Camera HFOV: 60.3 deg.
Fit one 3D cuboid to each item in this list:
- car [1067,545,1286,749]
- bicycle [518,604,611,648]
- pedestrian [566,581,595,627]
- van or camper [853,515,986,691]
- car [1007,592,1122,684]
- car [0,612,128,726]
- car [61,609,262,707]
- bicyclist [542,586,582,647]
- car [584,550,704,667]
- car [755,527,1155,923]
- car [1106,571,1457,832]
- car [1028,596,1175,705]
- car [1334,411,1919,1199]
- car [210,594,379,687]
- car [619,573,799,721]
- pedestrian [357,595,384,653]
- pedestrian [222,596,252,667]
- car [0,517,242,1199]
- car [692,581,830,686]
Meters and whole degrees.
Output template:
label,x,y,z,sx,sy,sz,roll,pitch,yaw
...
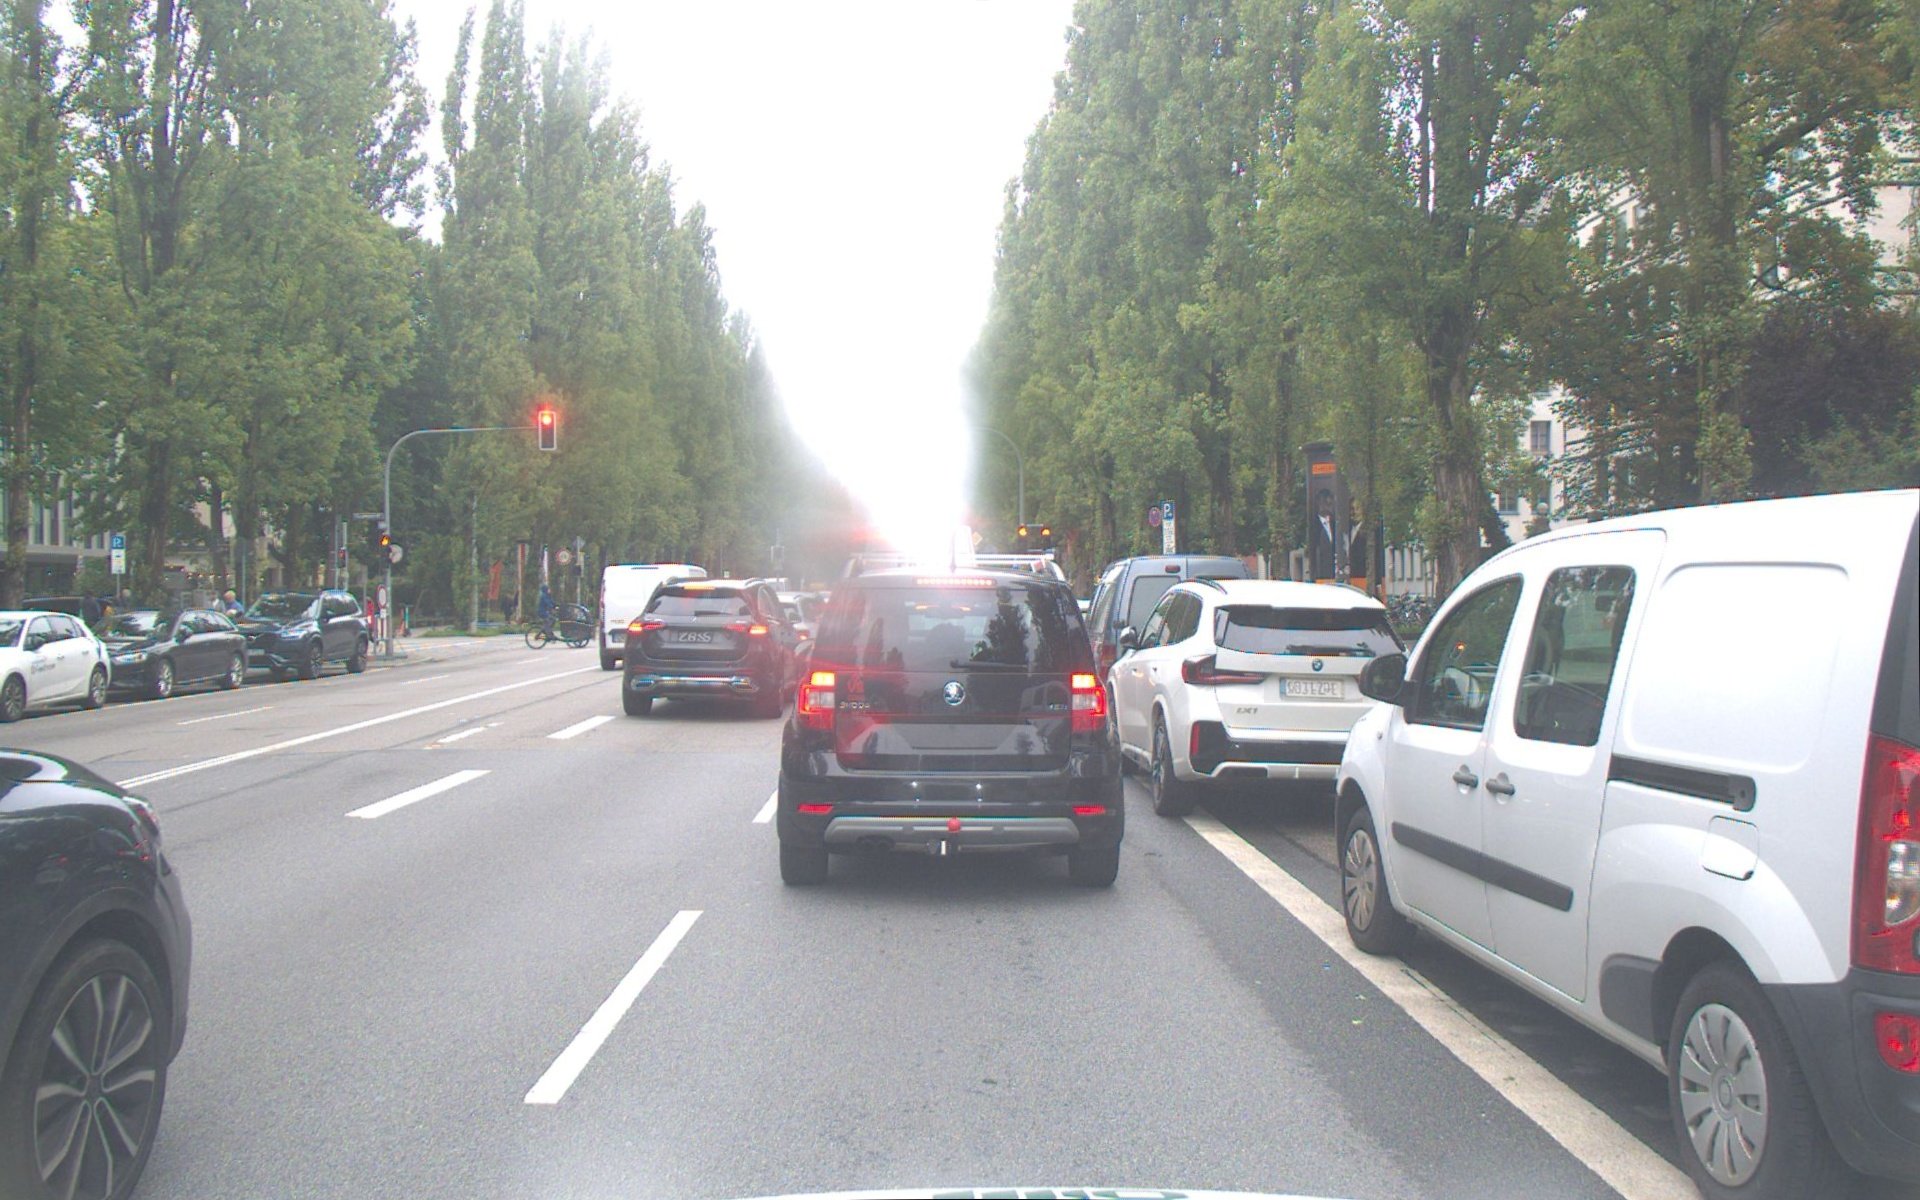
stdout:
label,x,y,z,sx,sy,sz,roll,pitch,yaw
car,2.206,0.427,17.856,1.700,1.928,4.023,-1,1,-2
bicycle,-11.520,0.752,48.166,2.481,1.259,0.813,-1,0,8
pedestrian,-14.929,0.165,65.055,0.861,1.795,0.879,-1,0,8
van or camper,-0.712,0.023,26.491,1.936,2.593,4.022,-1,0,-3
car,1.784,0.621,29.222,1.700,1.501,3.561,-1,1,-2
car,-13.151,0.930,22.670,1.591,1.413,4.163,-3,0,-4
car,-13.466,0.924,28.166,1.591,1.413,4.163,-3,0,-4
bicyclist,-11.595,0.485,48.175,0.886,1.752,0.825,-1,0,8
car,-6.161,0.155,32.634,1.746,2.148,4.022,1,0,-3
car,-0.073,0.575,9.701,1.818,1.801,3.999,1,0,-2
car,2.207,0.612,12.482,1.706,1.620,4.210,-1,1,-2
car,1.965,0.674,23.924,1.700,1.411,3.561,-1,1,-2
car,2.693,0.547,5.457,1.814,1.914,4.166,-1,1,-3
car,-13.610,0.769,34.112,1.813,1.683,4.692,-3,0,-4
car,-3.061,0.519,20.875,1.745,1.648,4.023,1,1,-2
pedestrian,-15.717,0.635,44.123,0.507,1.511,0.536,-1,0,-1
pedestrian,-15.865,0.687,36.297,0.455,1.555,0.395,-1,0,-1
car,-2.785,0.644,2.228,1.798,1.613,4.185,0,0,0
car,-3.222,0.493,27.483,1.954,1.588,3.998,-1,1,-3
